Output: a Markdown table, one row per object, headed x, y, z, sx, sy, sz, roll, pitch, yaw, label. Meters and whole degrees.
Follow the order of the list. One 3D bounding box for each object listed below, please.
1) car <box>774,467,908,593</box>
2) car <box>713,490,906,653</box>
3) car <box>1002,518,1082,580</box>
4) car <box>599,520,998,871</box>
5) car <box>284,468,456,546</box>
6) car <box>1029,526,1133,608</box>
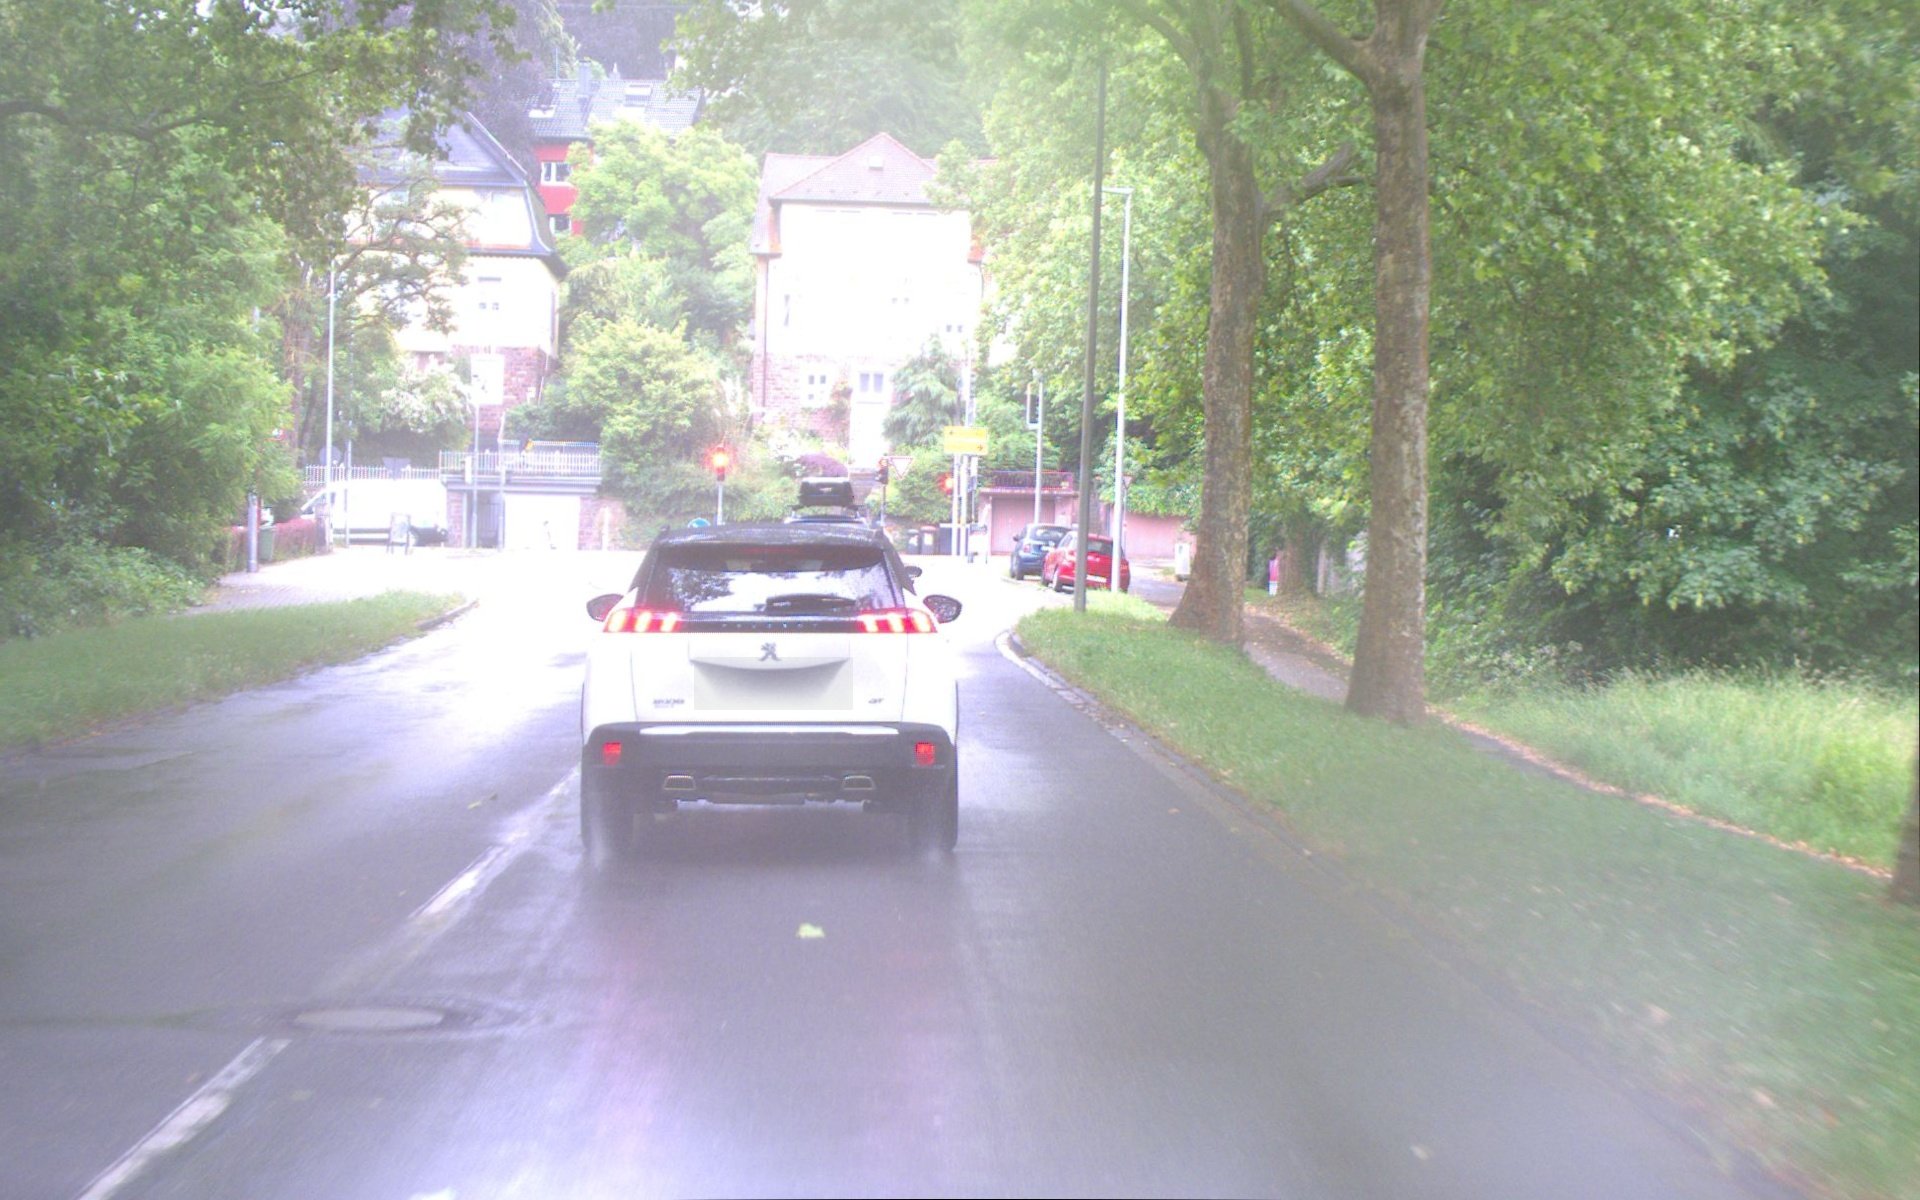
| x | y | z | sx | sy | sz | roll | pitch | yaw | label |
| --- | --- | --- | --- | --- | --- | --- | --- | --- | --- |
| -1.822 | -1.087 | 51.357 | 1.760 | 1.705 | 4.602 | 3 | 2 | -4 | car |
| -1.582 | -0.356 | 36.708 | 1.831 | 1.451 | 4.659 | 4 | 2 | -2 | car |
| 2.151 | -1.364 | 90.771 | 1.749 | 1.486 | 3.600 | 4 | 1 | -3 | car |
| -0.817 | 0.374 | 17.434 | 1.752 | 1.530 | 4.368 | 1 | 1 | -3 | car |
| -21.041 | -3.303 | 122.727 | 5.660 | 2.485 | 2.316 | 2 | 0 | -1 | car |
| 2.839 | -0.792 | 81.337 | 1.819 | 1.512 | 3.744 | 9 | 2 | -5 | car |
